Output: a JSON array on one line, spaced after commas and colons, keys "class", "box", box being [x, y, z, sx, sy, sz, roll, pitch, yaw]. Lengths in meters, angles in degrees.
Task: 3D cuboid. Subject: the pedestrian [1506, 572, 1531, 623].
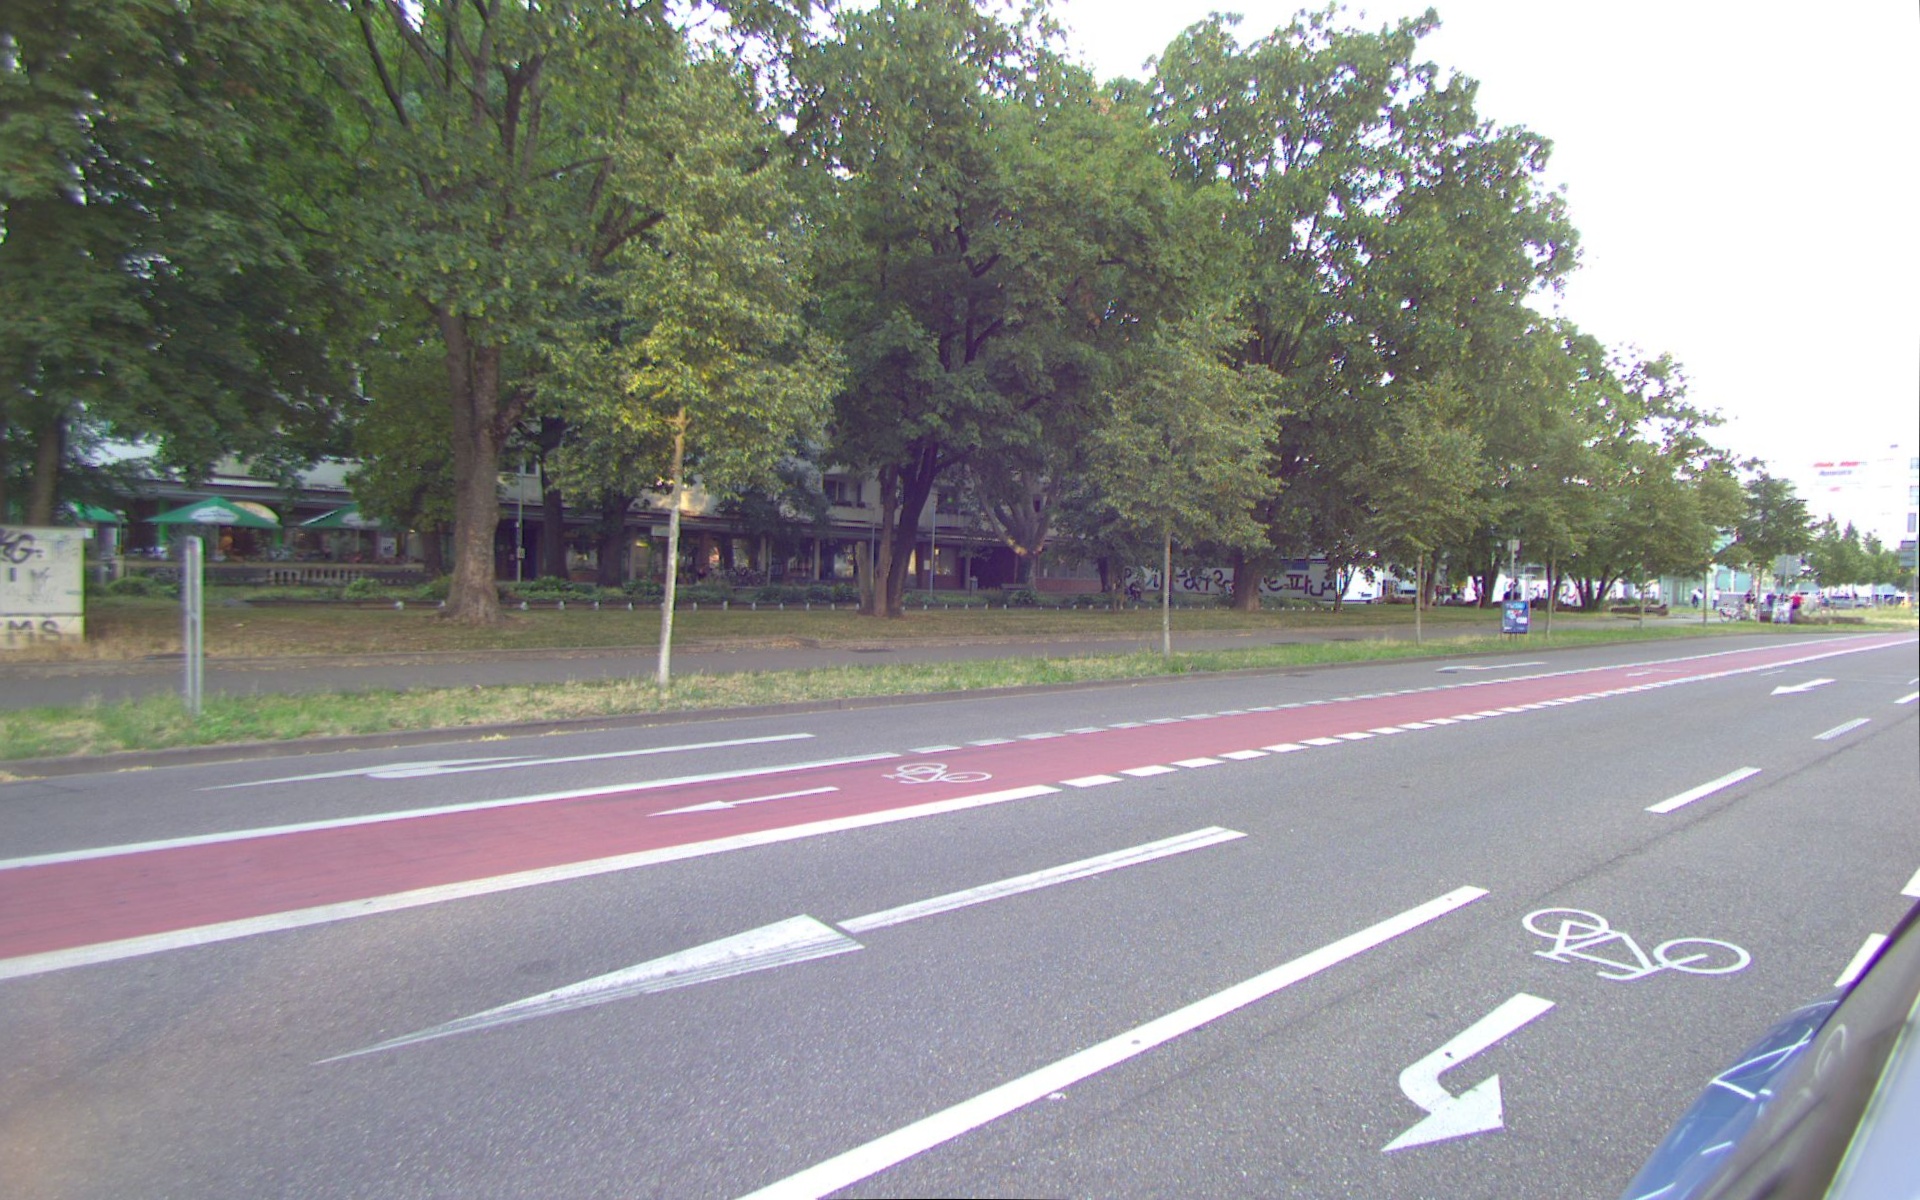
[{"class": "pedestrian", "box": [19.631, -0.083, 35.590, 0.546, 1.760, 0.558, 0, 2, -41]}]

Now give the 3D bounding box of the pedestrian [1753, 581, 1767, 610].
[{"class": "pedestrian", "box": [47.968, -0.275, 60.680, 0.707, 1.751, 0.508, 0, 2, -40]}]

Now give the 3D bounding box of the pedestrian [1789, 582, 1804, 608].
[{"class": "pedestrian", "box": [58.151, -0.332, 70.360, 0.497, 1.779, 0.638, 0, 2, -40]}]

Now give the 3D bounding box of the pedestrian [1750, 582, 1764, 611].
[{"class": "pedestrian", "box": [49.845, -0.226, 63.288, 0.707, 1.751, 0.519, 0, 2, -40]}]

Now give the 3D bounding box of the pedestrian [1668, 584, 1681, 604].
[{"class": "pedestrian", "box": [50.143, -0.397, 71.005, 0.759, 1.371, 0.519, 0, 2, -41]}]

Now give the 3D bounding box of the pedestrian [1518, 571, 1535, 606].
[{"class": "pedestrian", "box": [27.231, -0.555, 48.638, 0.513, 1.621, 0.500, 0, 2, -41]}]

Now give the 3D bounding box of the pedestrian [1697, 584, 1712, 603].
[{"class": "pedestrian", "box": [54.373, -0.468, 73.945, 0.604, 1.371, 0.728, 0, 2, -40]}]

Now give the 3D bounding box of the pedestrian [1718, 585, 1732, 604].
[{"class": "pedestrian", "box": [54.943, -0.399, 72.703, 0.550, 1.371, 0.662, 0, 2, -40]}]

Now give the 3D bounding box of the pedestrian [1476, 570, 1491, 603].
[{"class": "pedestrian", "box": [26.122, -0.678, 50.507, 0.359, 1.621, 0.500, 1, 2, -40]}]

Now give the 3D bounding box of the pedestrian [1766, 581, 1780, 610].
[{"class": "pedestrian", "box": [50.363, -0.270, 62.713, 0.707, 1.751, 0.508, 0, 2, -40]}]

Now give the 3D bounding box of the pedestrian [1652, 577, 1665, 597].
[{"class": "pedestrian", "box": [49.480, -0.900, 71.706, 0.759, 1.371, 0.519, 0, 2, -41]}]

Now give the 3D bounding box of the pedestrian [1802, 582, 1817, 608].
[{"class": "pedestrian", "box": [58.333, -0.340, 69.499, 0.497, 1.779, 0.638, 0, 2, -40]}]
